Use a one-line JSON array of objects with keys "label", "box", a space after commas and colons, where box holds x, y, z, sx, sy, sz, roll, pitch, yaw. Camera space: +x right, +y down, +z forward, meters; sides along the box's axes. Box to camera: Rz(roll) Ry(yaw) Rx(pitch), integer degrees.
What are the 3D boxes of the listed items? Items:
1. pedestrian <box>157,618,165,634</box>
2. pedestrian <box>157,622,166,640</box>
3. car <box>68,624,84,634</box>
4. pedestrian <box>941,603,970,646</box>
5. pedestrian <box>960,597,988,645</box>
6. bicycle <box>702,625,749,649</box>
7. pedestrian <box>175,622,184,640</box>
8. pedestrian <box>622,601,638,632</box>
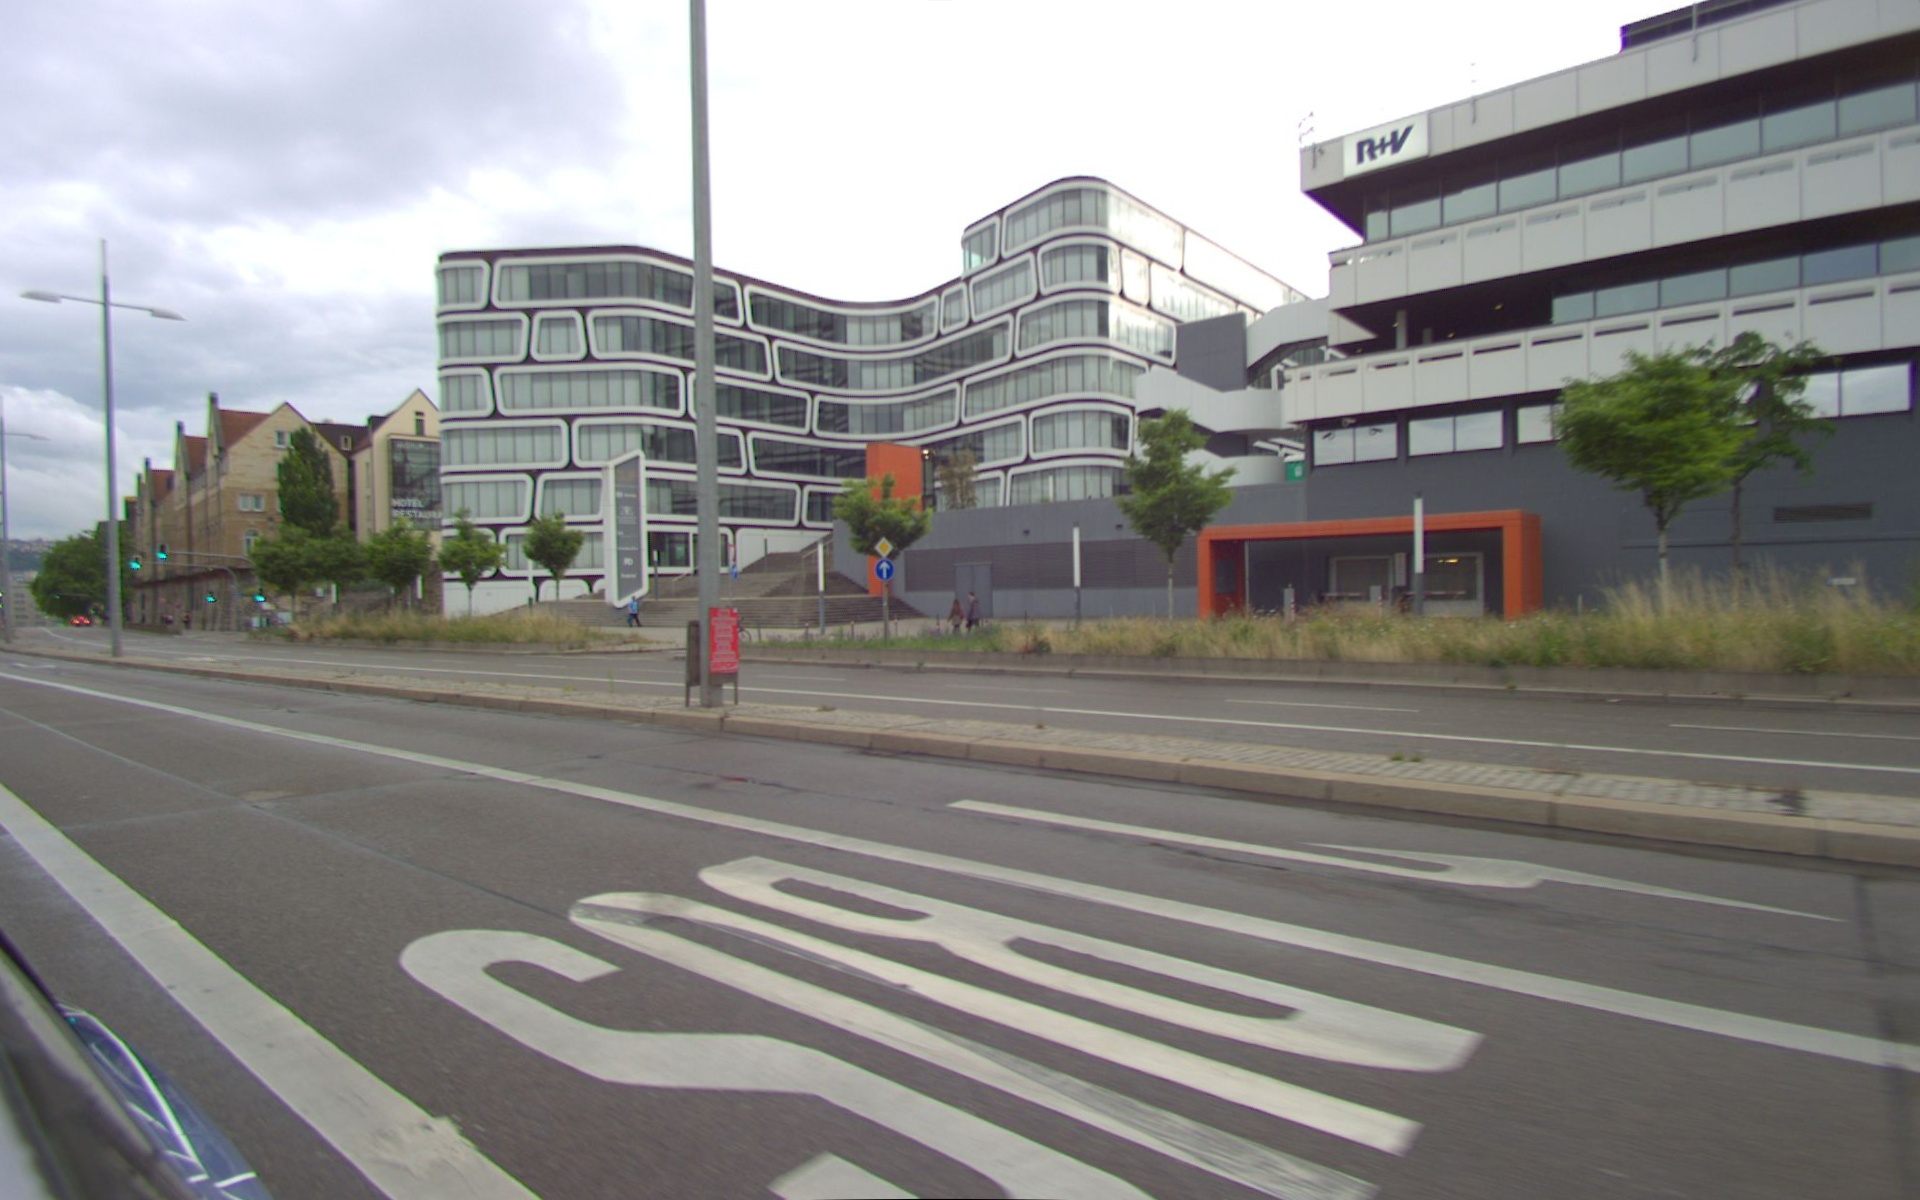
[{"label": "pedestrian", "box": [-90.802, 2.992, 114.986, 0.668, 1.792, 0.684, 0, 0, -44]}, {"label": "pedestrian", "box": [-82.405, 3.189, 104.498, 0.668, 1.792, 0.684, 0, 0, -44]}, {"label": "car", "box": [-138.093, 4.565, 158.038, 1.690, 1.475, 4.004, -2, 0, -43]}, {"label": "pedestrian", "box": [-0.152, 0.831, 35.175, 0.798, 1.457, 0.611, 0, 0, 42]}, {"label": "pedestrian", "box": [0.507, 0.743, 35.916, 0.798, 1.670, 0.611, 0, 0, 42]}, {"label": "bicycle", "box": [-8.920, 1.401, 38.483, 1.637, 0.864, 0.608, 0, 0, 7]}, {"label": "pedestrian", "box": [-76.943, 3.062, 99.767, 0.668, 1.792, 0.684, 0, 0, -44]}, {"label": "pedestrian", "box": [-17.500, 0.878, 53.652, 0.640, 1.623, 0.604, 0, 0, 43]}]
